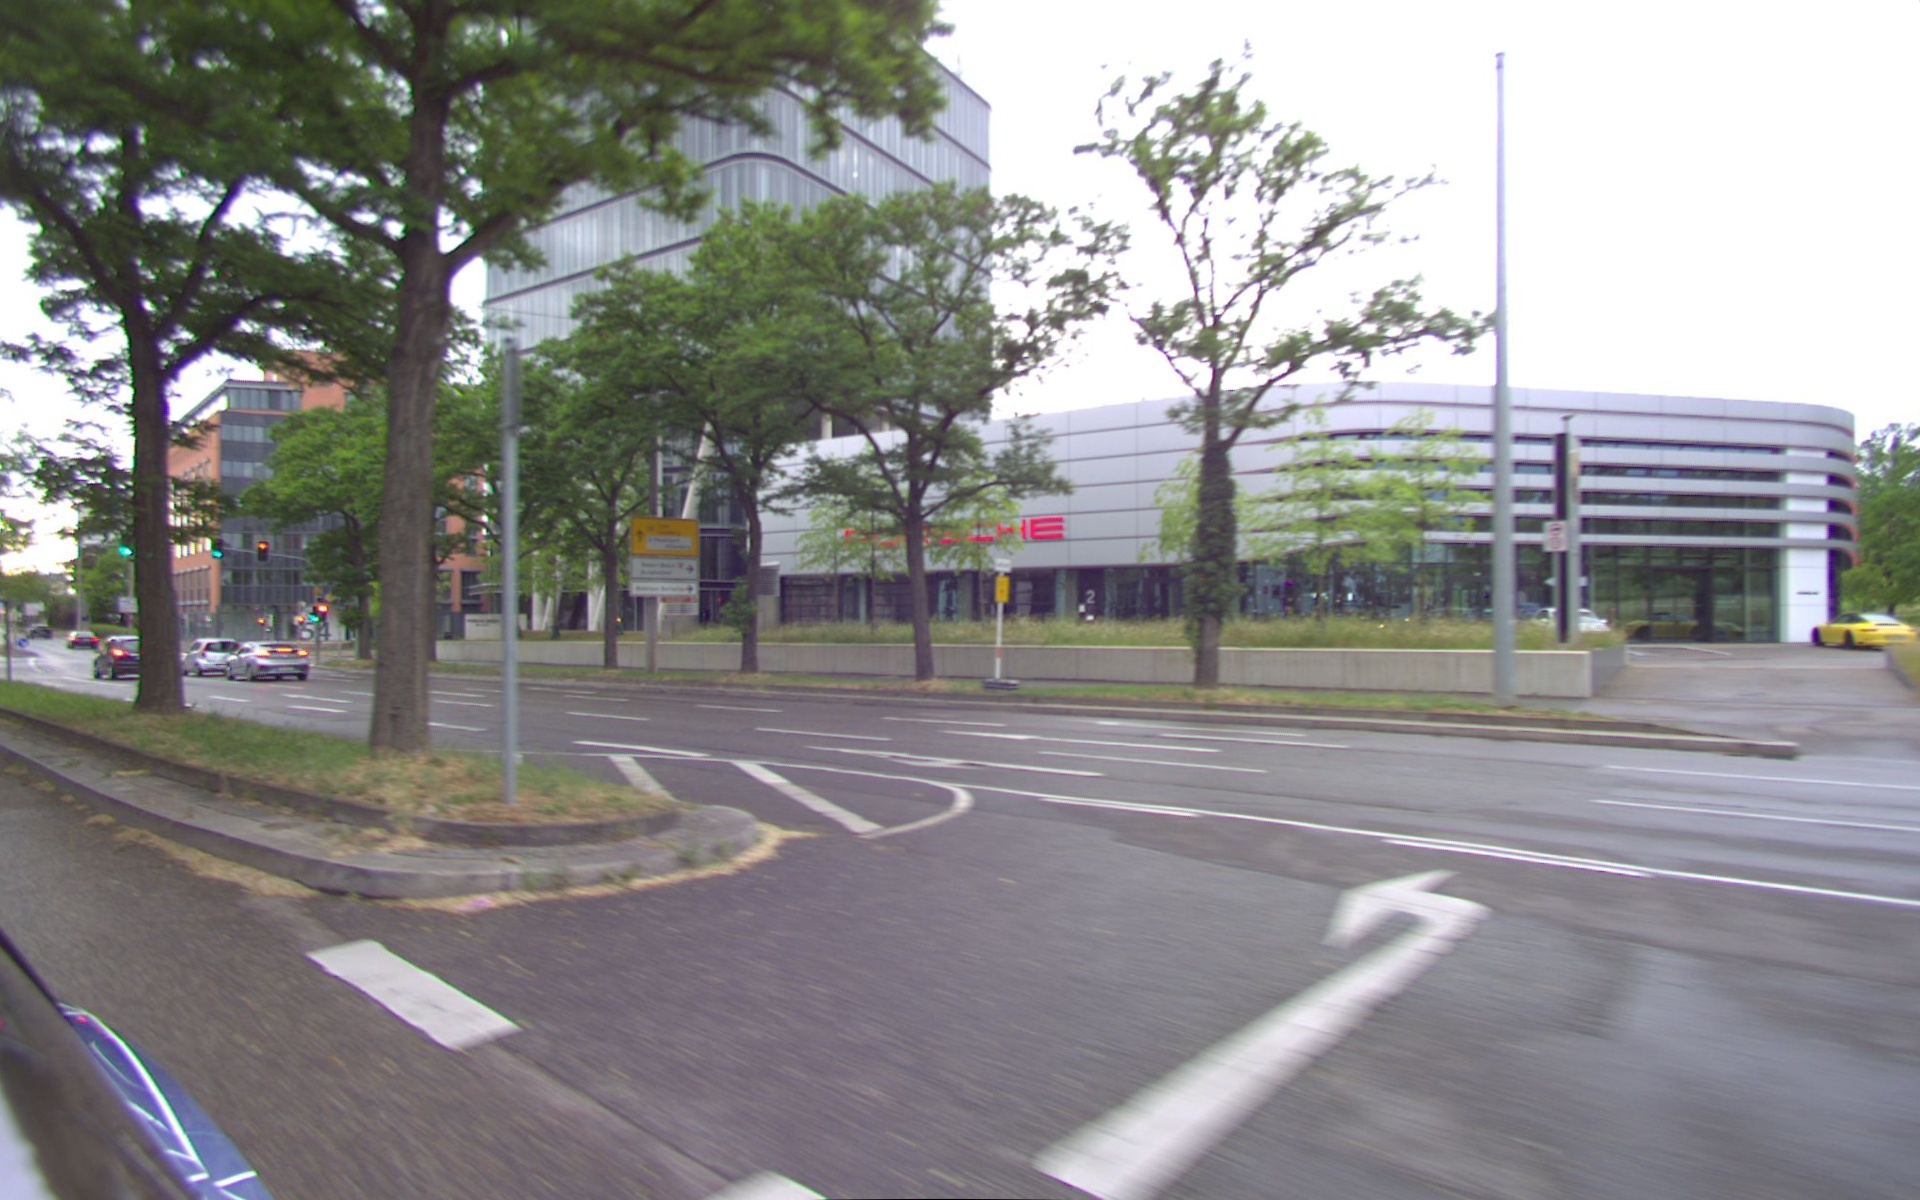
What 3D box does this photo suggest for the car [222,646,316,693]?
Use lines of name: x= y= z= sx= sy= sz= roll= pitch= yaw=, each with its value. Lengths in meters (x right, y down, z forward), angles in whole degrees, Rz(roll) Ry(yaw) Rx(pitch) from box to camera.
car: x=-25.348 y=2.500 z=37.059 sx=3.998 sy=1.464 sz=1.870 roll=-1 pitch=1 yaw=41

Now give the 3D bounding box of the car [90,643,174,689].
car: x=-31.893 y=2.501 z=38.953 sx=4.171 sy=1.602 sz=1.822 roll=-1 pitch=-2 yaw=41

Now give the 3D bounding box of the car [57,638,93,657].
car: x=-74.986 y=3.986 z=85.725 sx=3.998 sy=1.464 sz=1.760 roll=-1 pitch=1 yaw=41

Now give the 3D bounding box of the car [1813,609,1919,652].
car: x=32.307 y=1.046 z=35.956 sx=1.606 sy=1.334 sz=3.977 roll=-2 pitch=1 yaw=17

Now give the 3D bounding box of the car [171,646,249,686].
car: x=-31.464 y=2.731 z=42.430 sx=3.998 sy=1.464 sz=1.760 roll=-1 pitch=1 yaw=41

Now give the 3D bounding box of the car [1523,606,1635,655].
car: x=20.522 y=0.961 z=33.745 sx=1.759 sy=1.423 sz=3.988 roll=-2 pitch=0 yaw=10

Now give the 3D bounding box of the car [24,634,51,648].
car: x=-101.030 y=4.496 z=110.835 sx=3.999 sy=1.464 sz=1.759 roll=-1 pitch=1 yaw=43
